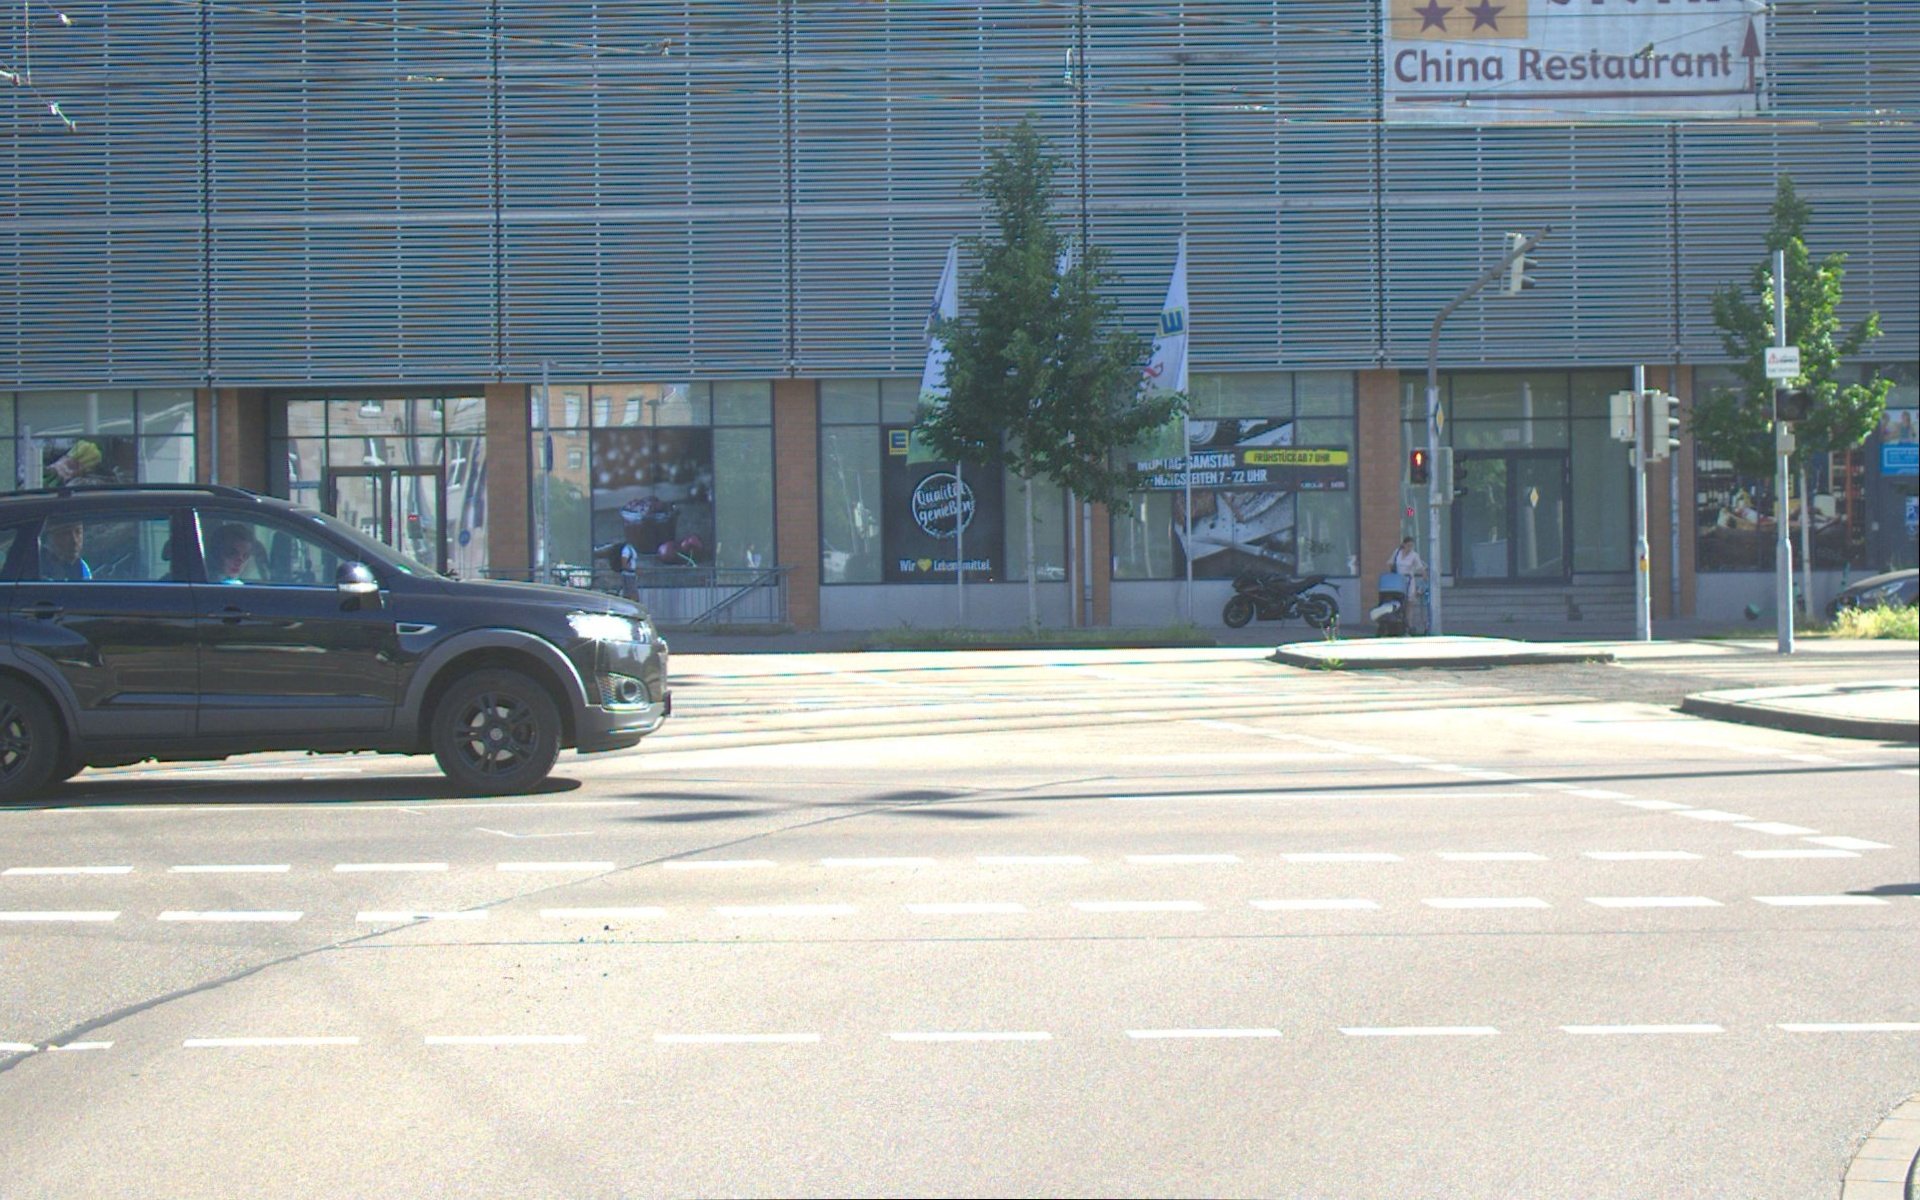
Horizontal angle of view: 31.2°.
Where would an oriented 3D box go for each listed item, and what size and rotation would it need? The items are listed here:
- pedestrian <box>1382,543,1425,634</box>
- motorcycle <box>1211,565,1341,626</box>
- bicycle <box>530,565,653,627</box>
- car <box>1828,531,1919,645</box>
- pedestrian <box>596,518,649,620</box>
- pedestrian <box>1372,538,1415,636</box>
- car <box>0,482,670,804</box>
[{"bbox_3d":[7.148,-0.187,55.386,0.589,1.457,0.658,-1,1,-1],"label":"pedestrian"},{"bbox_3d":[5.587,-0.085,60.867,2.202,1.039,1.061,0,1,0],"label":"motorcycle"},{"bbox_3d":[-6.467,-0.070,60.435,2.026,1.055,1.145,-1,1,-1],"label":"bicycle"},{"bbox_3d":[13.991,-0.191,45.731,4.487,1.489,1.495,-1,1,0],"label":"car"},{"bbox_3d":[-5.871,-0.535,59.754,0.848,1.757,0.620,-1,1,-1],"label":"pedestrian"},{"bbox_3d":[6.880,-0.208,54.592,0.589,1.529,0.658,-1,1,-1],"label":"pedestrian"},{"bbox_3d":[-3.973,0.198,19.372,4.634,1.712,1.840,0,2,-5],"label":"car"}]
